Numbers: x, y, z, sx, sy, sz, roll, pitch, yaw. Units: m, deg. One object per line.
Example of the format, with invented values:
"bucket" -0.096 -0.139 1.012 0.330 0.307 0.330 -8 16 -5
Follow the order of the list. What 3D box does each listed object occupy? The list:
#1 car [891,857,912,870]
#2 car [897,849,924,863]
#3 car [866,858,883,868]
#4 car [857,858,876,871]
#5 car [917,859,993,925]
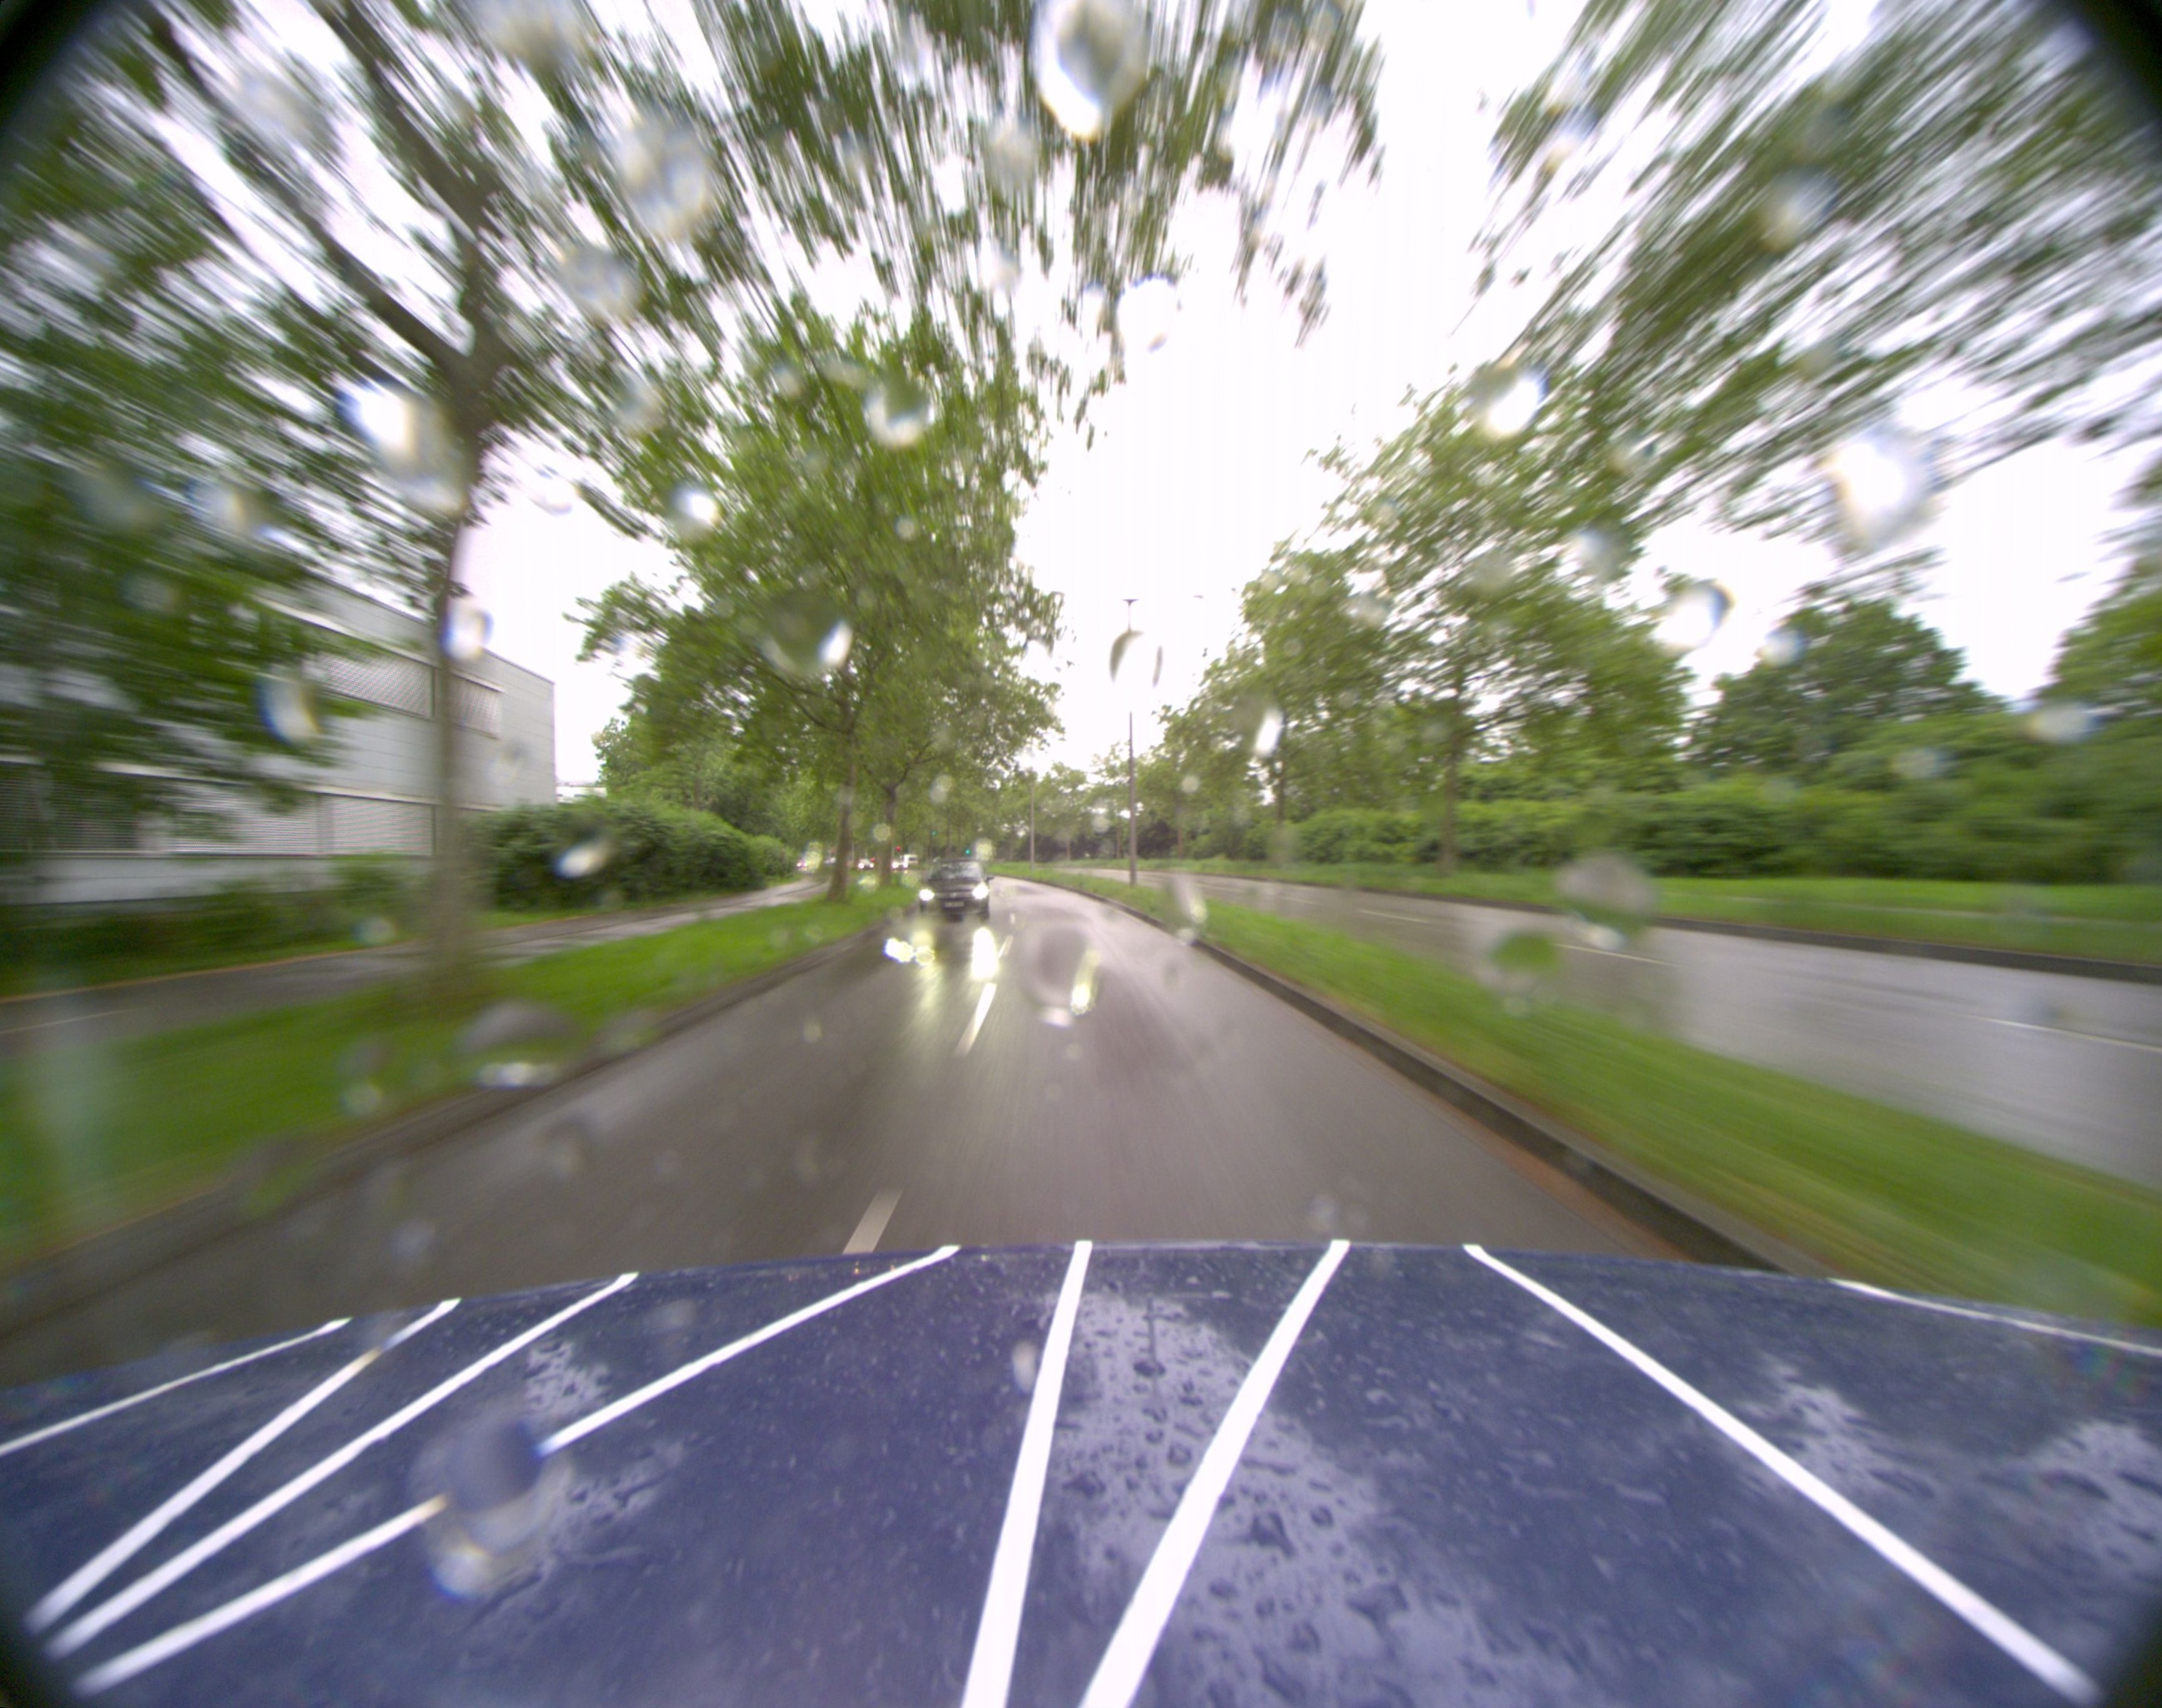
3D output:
"car" -21.948 1.139 92.867 1.787 1.546 3.992 -1 0 -24
"car" -31.130 0.381 138.727 2.290 2.412 6.343 -1 0 -38
"car" -43.801 1.908 161.344 1.944 1.929 5.184 -1 0 -33
"car" -26.643 1.298 94.235 1.787 1.546 3.993 -1 0 -23
"car" -3.424 0.965 21.105 1.785 1.546 3.997 -4 0 -8
